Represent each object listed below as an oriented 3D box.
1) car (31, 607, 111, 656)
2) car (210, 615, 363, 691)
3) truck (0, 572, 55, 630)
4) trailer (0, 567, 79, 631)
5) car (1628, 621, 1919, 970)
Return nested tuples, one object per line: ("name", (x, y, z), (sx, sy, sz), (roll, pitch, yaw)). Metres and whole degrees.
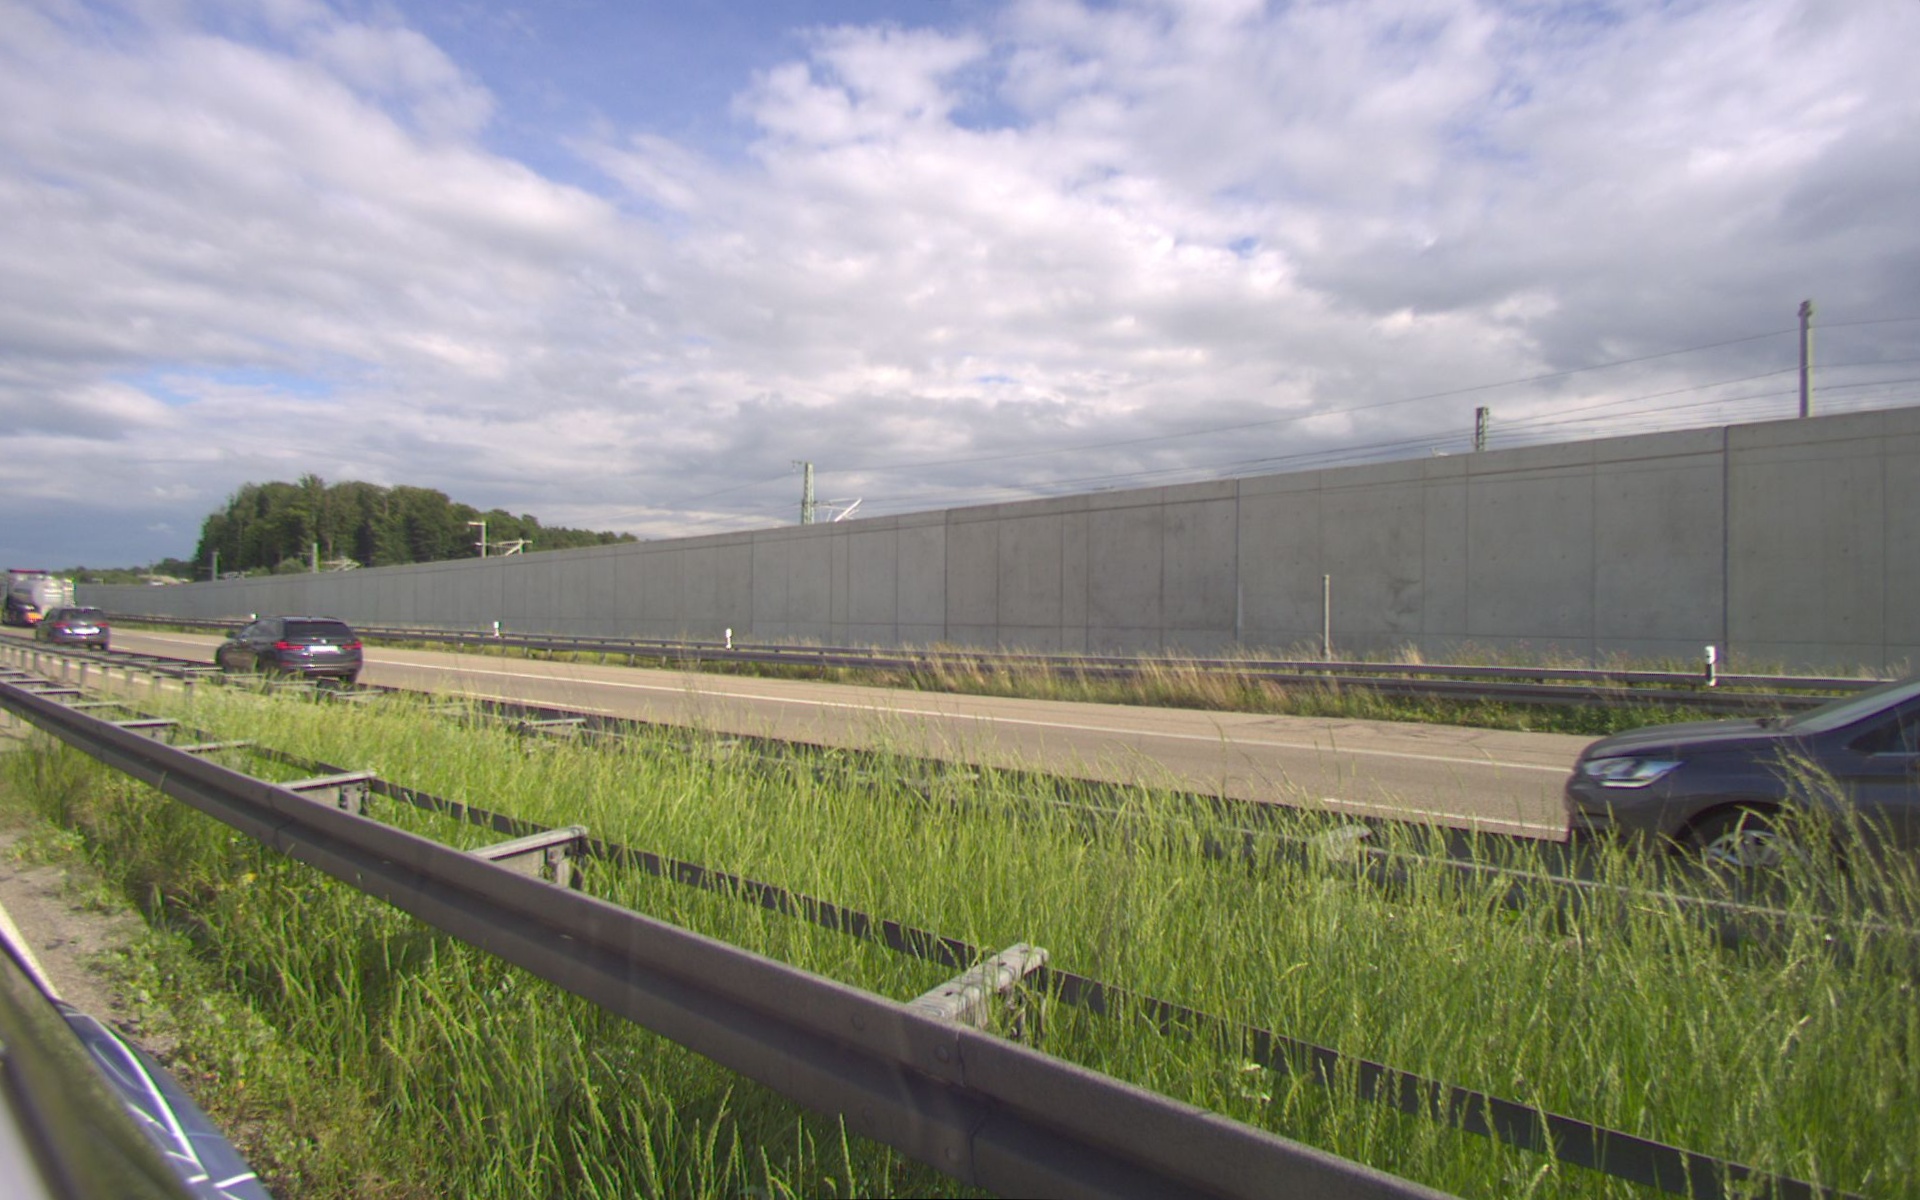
("car", (-33.953, 1.169, 38.608), (4.100, 1.750, 1.762), (-1, -1, 41))
("car", (-15.038, 1.105, 22.508), (4.424, 1.510, 1.680), (-1, -1, 40))
("truck", (-66.346, 0.108, 71.695), (5.718, 3.953, 2.556), (-1, -2, 41))
("trailer", (-61.710, 0.021, 67.689), (10.857, 3.931, 2.561), (-1, -2, 41))
("car", (5.362, 0.860, 4.475), (3.827, 1.490, 1.750), (0, -1, 42))
